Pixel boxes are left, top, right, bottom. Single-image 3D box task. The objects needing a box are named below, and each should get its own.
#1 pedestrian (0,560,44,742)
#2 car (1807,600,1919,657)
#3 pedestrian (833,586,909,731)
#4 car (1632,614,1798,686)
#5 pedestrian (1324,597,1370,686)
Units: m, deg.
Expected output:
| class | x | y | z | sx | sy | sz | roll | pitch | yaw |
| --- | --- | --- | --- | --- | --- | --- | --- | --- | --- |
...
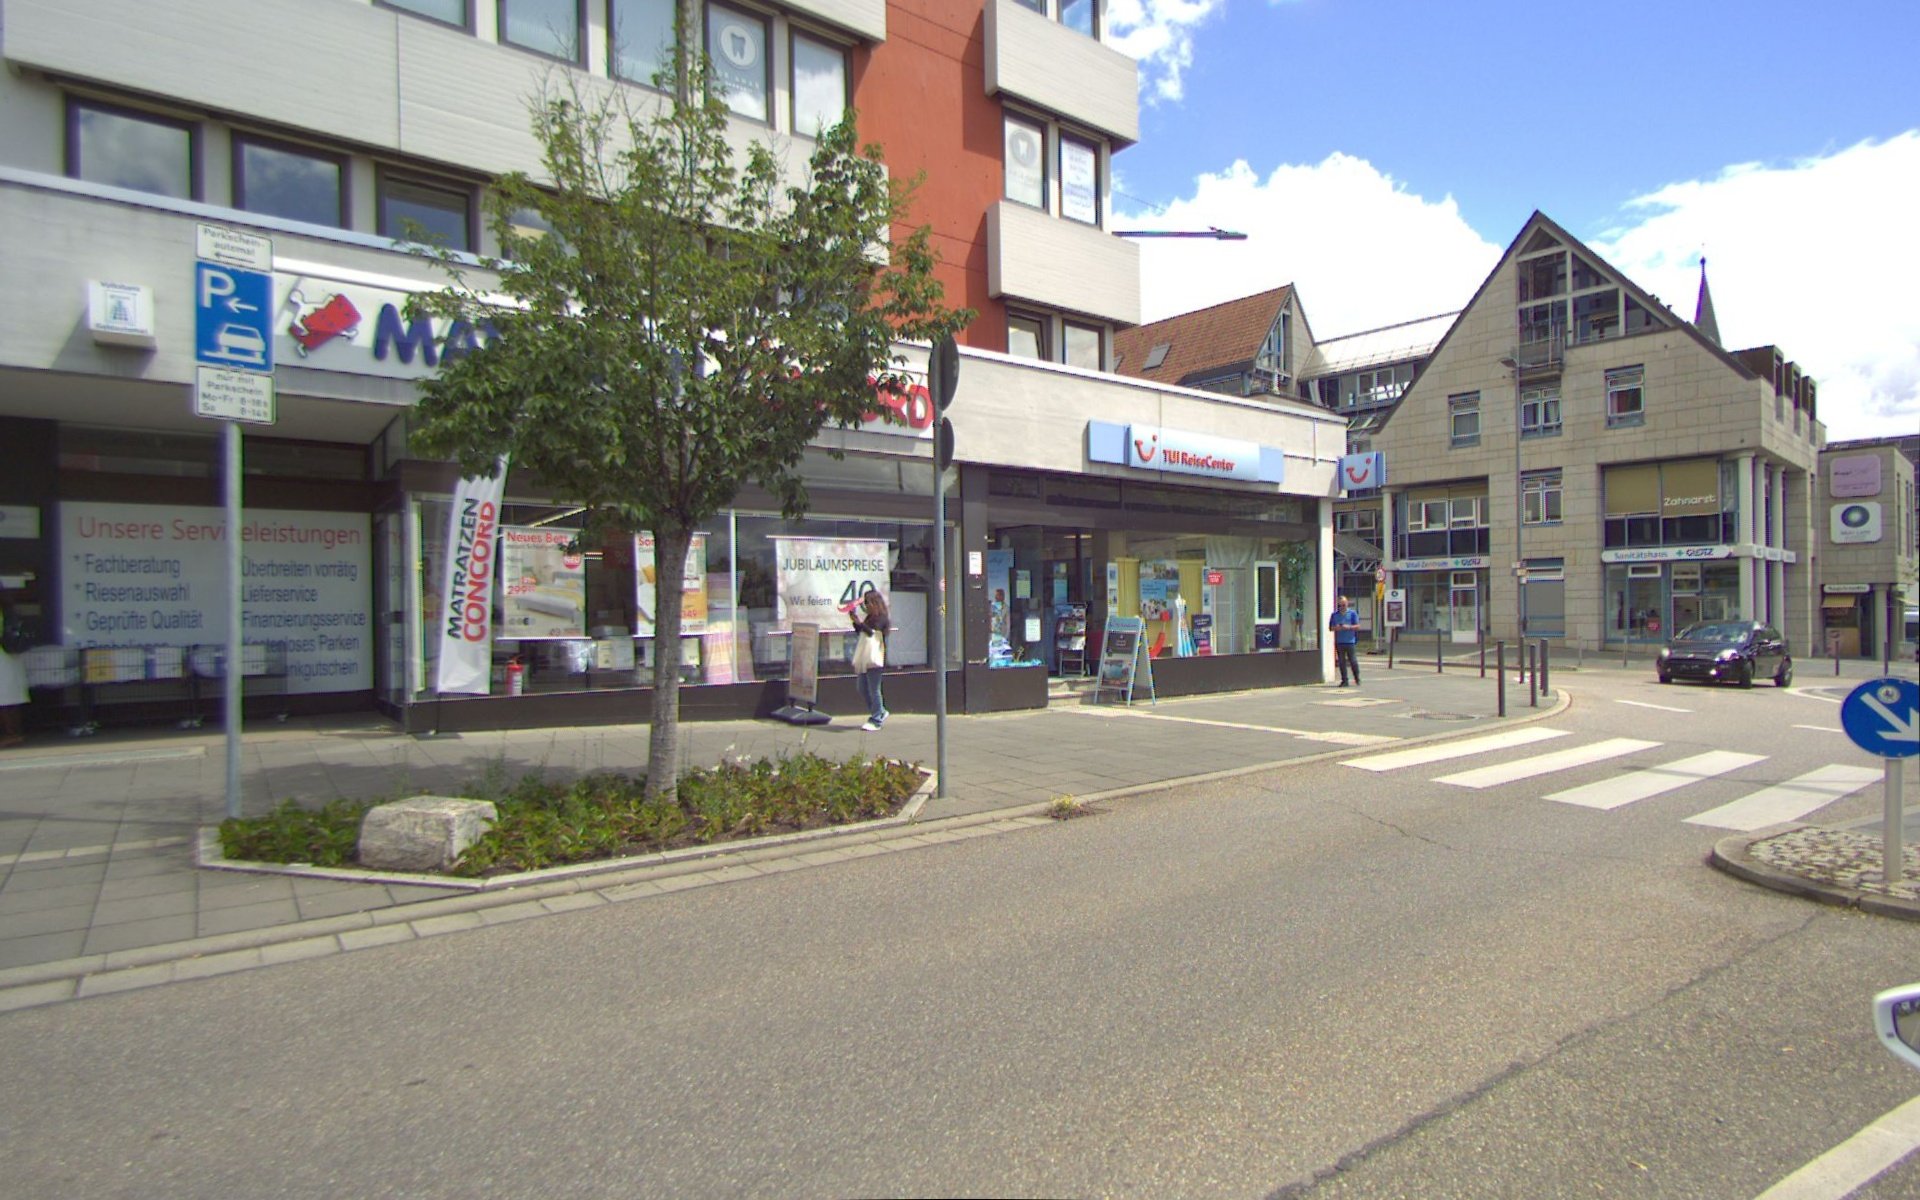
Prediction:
| class | x | y | z | sx | sy | sz | roll | pitch | yaw |
| --- | --- | --- | --- | --- | --- | --- | --- | --- | --- |
| pedestrian | -8.576 | 0.450 | 8.902 | 0.581 | 1.587 | 0.506 | 1 | -2 | -35 |
| car | 46.419 | 1.457 | 49.981 | 6.198 | 2.593 | 2.201 | 2 | -2 | 34 |
| pedestrian | -1.024 | 0.652 | 11.541 | 0.632 | 1.609 | 0.583 | 1 | 0 | -36 |
| car | 17.135 | 1.154 | 22.751 | 4.075 | 1.437 | 1.689 | 4 | -2 | -33 |
| pedestrian | 7.166 | 0.758 | 18.609 | 0.600 | 1.625 | 0.563 | 0 | 0 | -35 |
